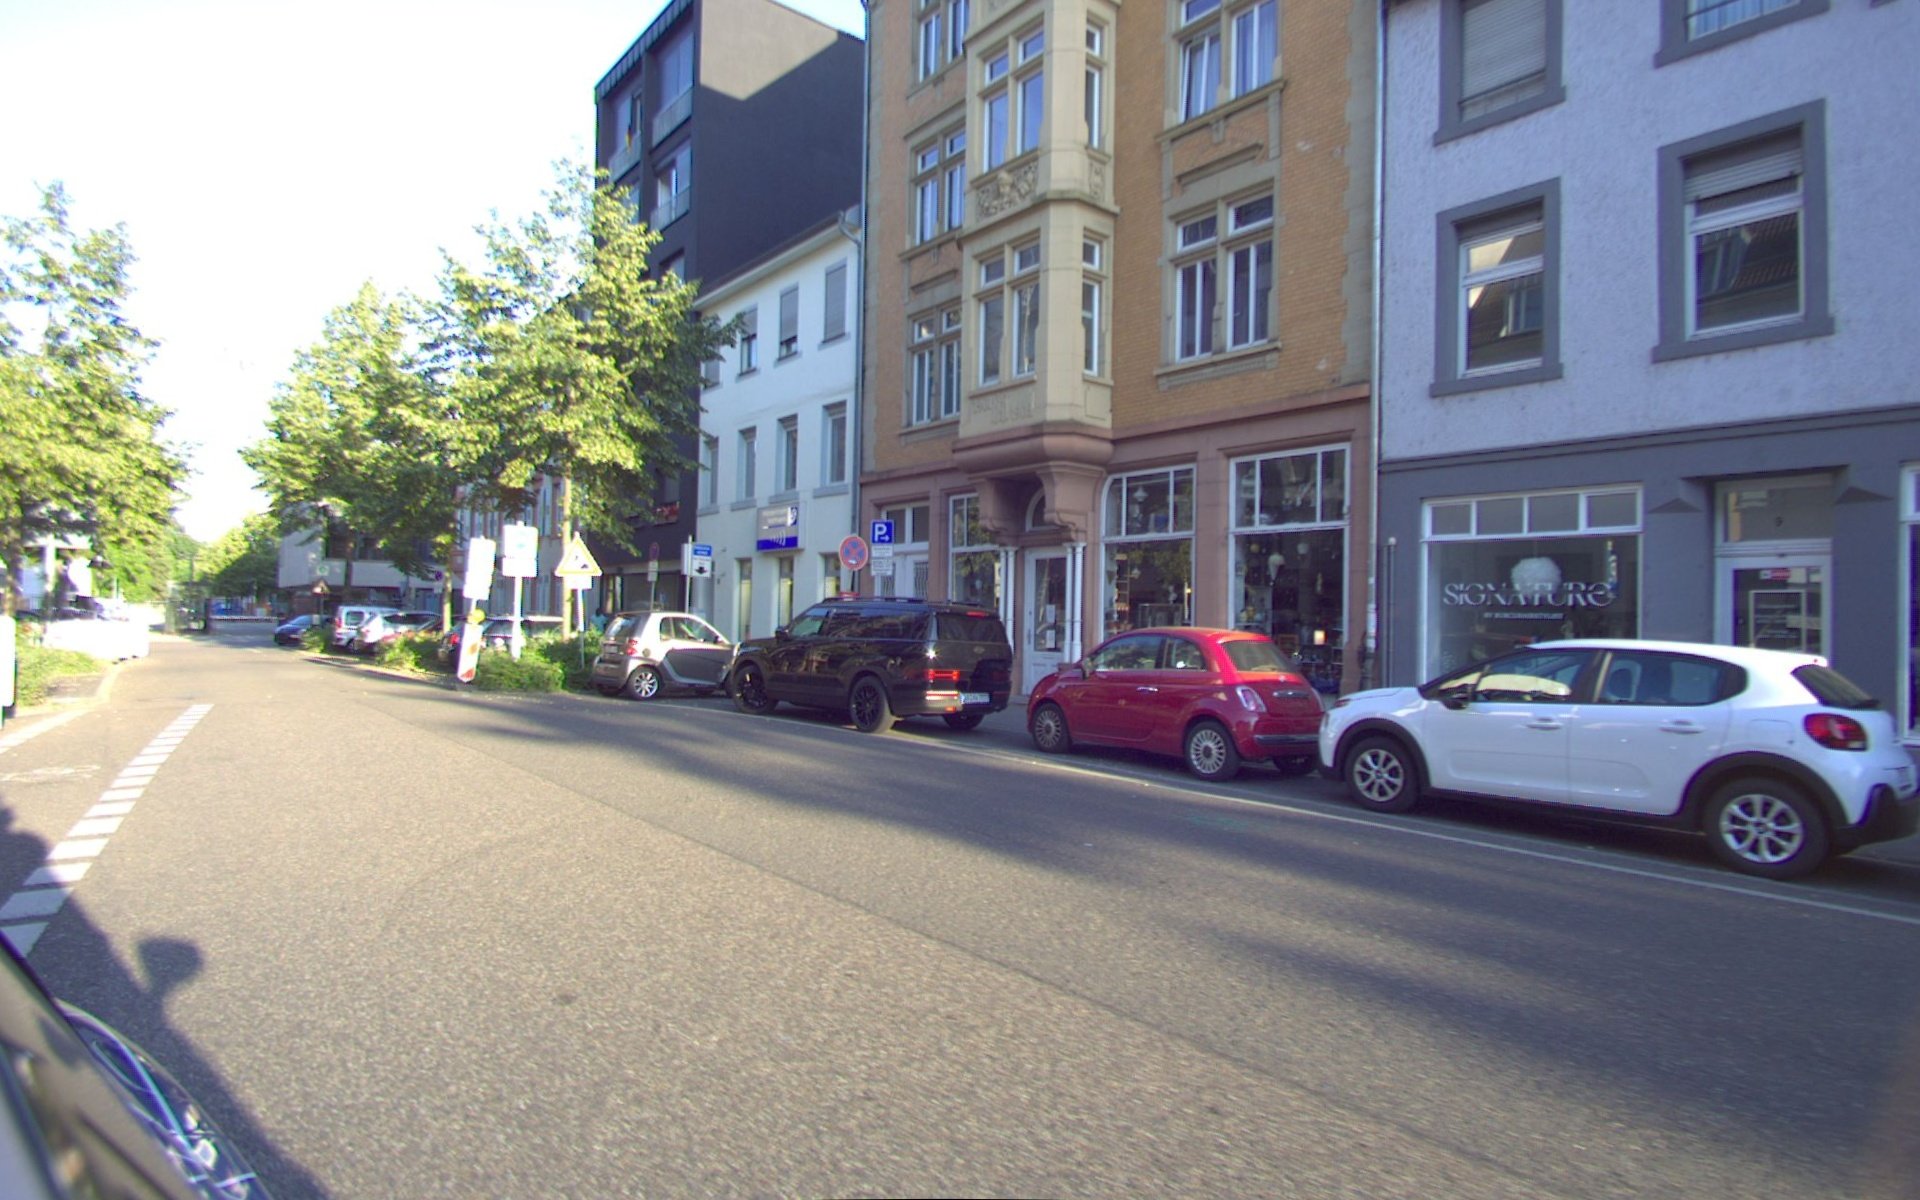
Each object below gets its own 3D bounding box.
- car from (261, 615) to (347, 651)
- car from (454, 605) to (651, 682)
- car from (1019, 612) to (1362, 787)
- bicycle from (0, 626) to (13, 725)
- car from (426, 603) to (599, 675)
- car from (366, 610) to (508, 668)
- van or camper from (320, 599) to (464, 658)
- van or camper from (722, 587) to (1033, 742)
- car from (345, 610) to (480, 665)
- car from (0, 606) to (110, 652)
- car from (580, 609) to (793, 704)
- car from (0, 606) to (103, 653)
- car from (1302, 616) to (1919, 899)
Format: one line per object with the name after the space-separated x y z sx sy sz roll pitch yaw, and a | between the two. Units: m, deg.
-30.609 1.562 47.338 1.830 1.580 3.702 2 -3 -6 | car
-9.778 1.069 24.424 3.946 1.683 1.861 5 -4 -41 | car
2.347 0.952 10.952 1.506 1.582 3.429 4 -3 -38 | car
-11.813 0.911 12.132 0.501 1.188 1.555 3 -2 -39 | bicycle
-11.534 1.027 26.181 3.639 1.683 1.861 5 -4 -41 | car
-16.751 1.261 32.457 3.639 1.683 1.861 5 -4 -41 | car
-21.531 1.123 38.474 4.385 2.021 1.861 5 -4 -41 | van or camper
-1.291 0.813 14.131 1.867 1.821 4.464 4 -3 -44 | van or camper
-18.546 1.290 34.362 3.639 1.683 1.861 5 -4 -41 | car
-36.165 1.149 39.846 3.934 1.697 1.895 3 -2 -37 | car
-4.950 1.005 18.549 3.427 1.587 1.510 3 -2 -42 | car
-34.589 1.092 37.652 3.934 1.697 1.895 3 -2 -37 | car
4.835 0.953 7.719 1.640 1.585 3.942 4 -3 -38 | car
